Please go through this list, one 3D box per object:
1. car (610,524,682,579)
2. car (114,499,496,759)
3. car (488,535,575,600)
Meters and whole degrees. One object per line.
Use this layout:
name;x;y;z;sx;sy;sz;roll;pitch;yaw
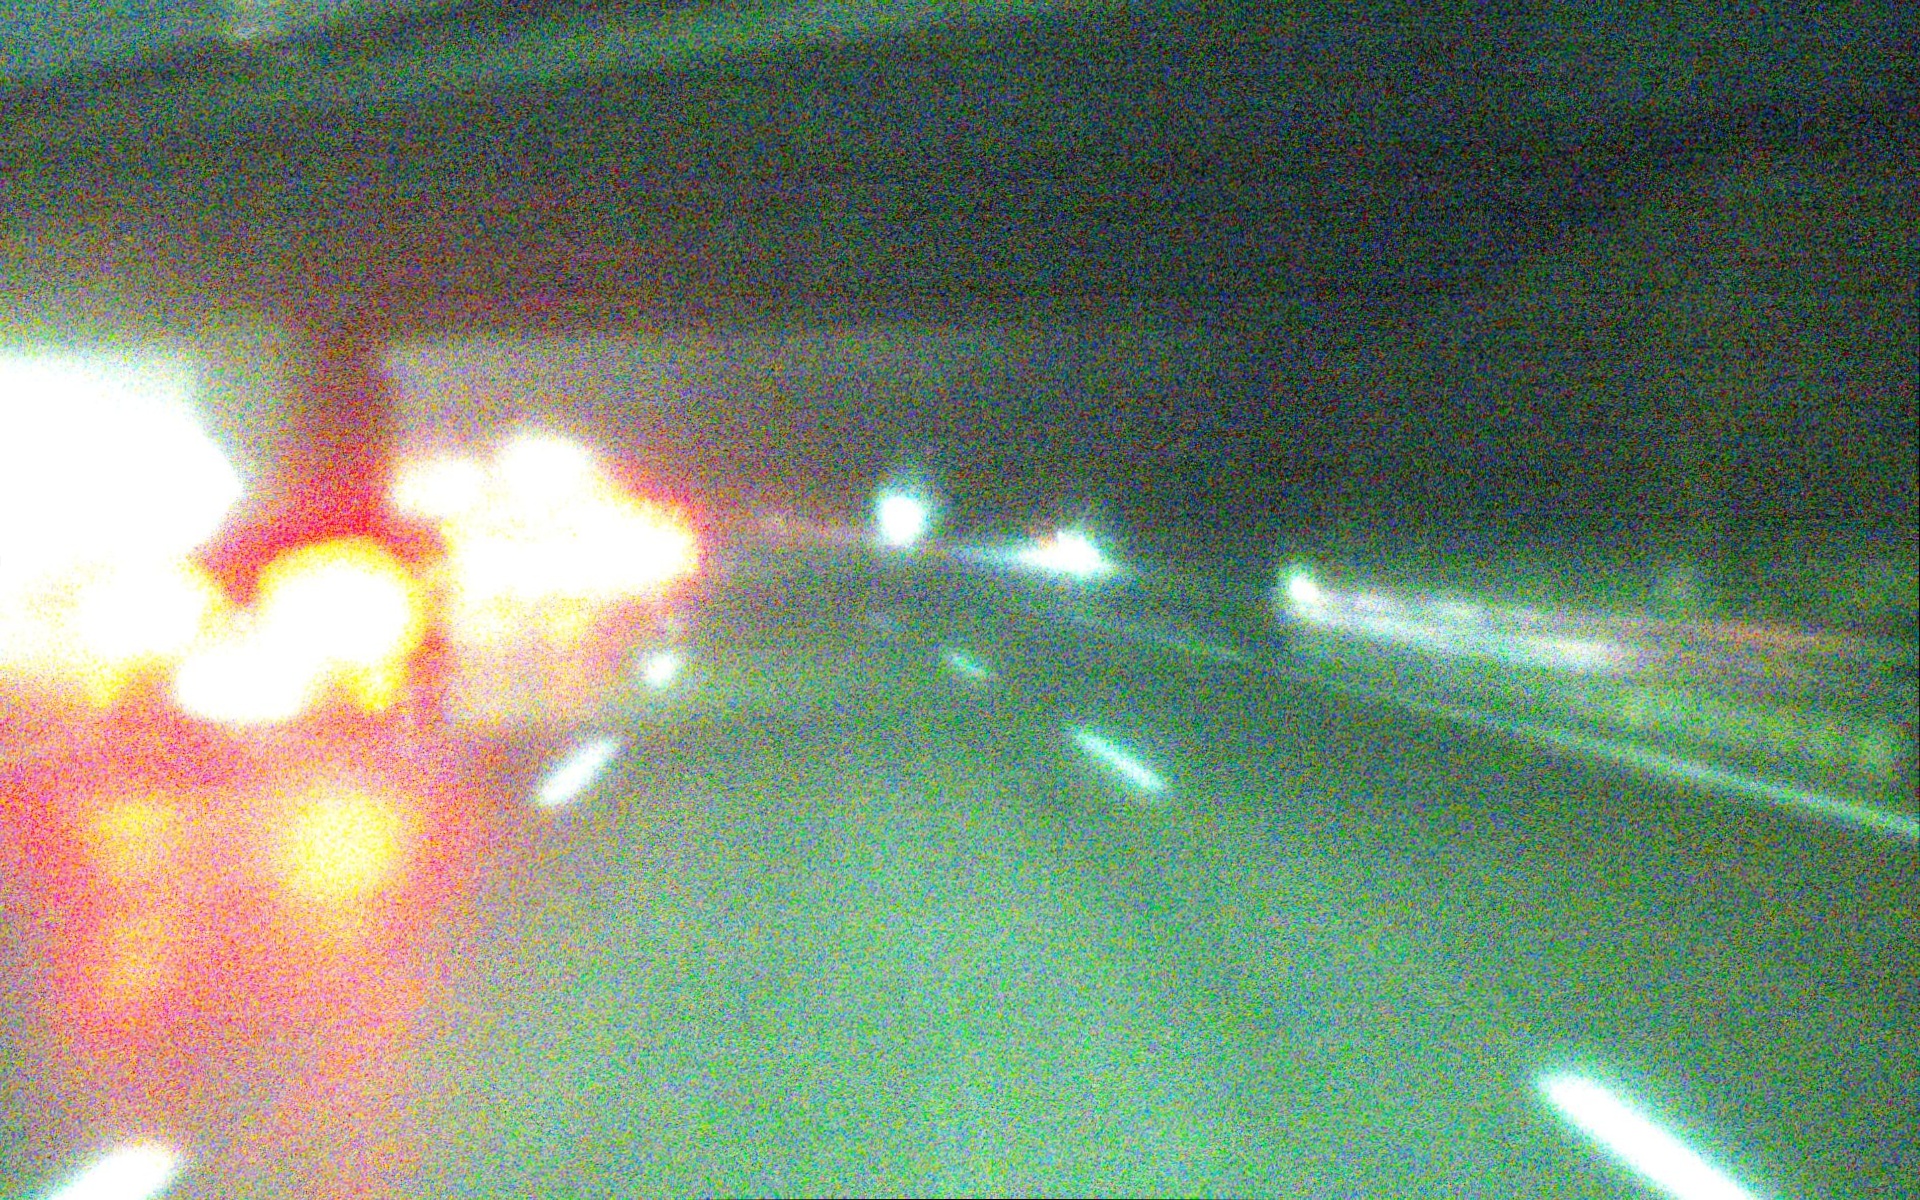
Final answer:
car;-8.644;-1.347;94.938;1.801;1.482;4.001;1;1;-3
car;-4.507;0.142;24.368;1.858;1.535;4.751;4;1;-2
car;-8.501;-0.649;68.344;1.662;1.232;3.762;1;1;-6
